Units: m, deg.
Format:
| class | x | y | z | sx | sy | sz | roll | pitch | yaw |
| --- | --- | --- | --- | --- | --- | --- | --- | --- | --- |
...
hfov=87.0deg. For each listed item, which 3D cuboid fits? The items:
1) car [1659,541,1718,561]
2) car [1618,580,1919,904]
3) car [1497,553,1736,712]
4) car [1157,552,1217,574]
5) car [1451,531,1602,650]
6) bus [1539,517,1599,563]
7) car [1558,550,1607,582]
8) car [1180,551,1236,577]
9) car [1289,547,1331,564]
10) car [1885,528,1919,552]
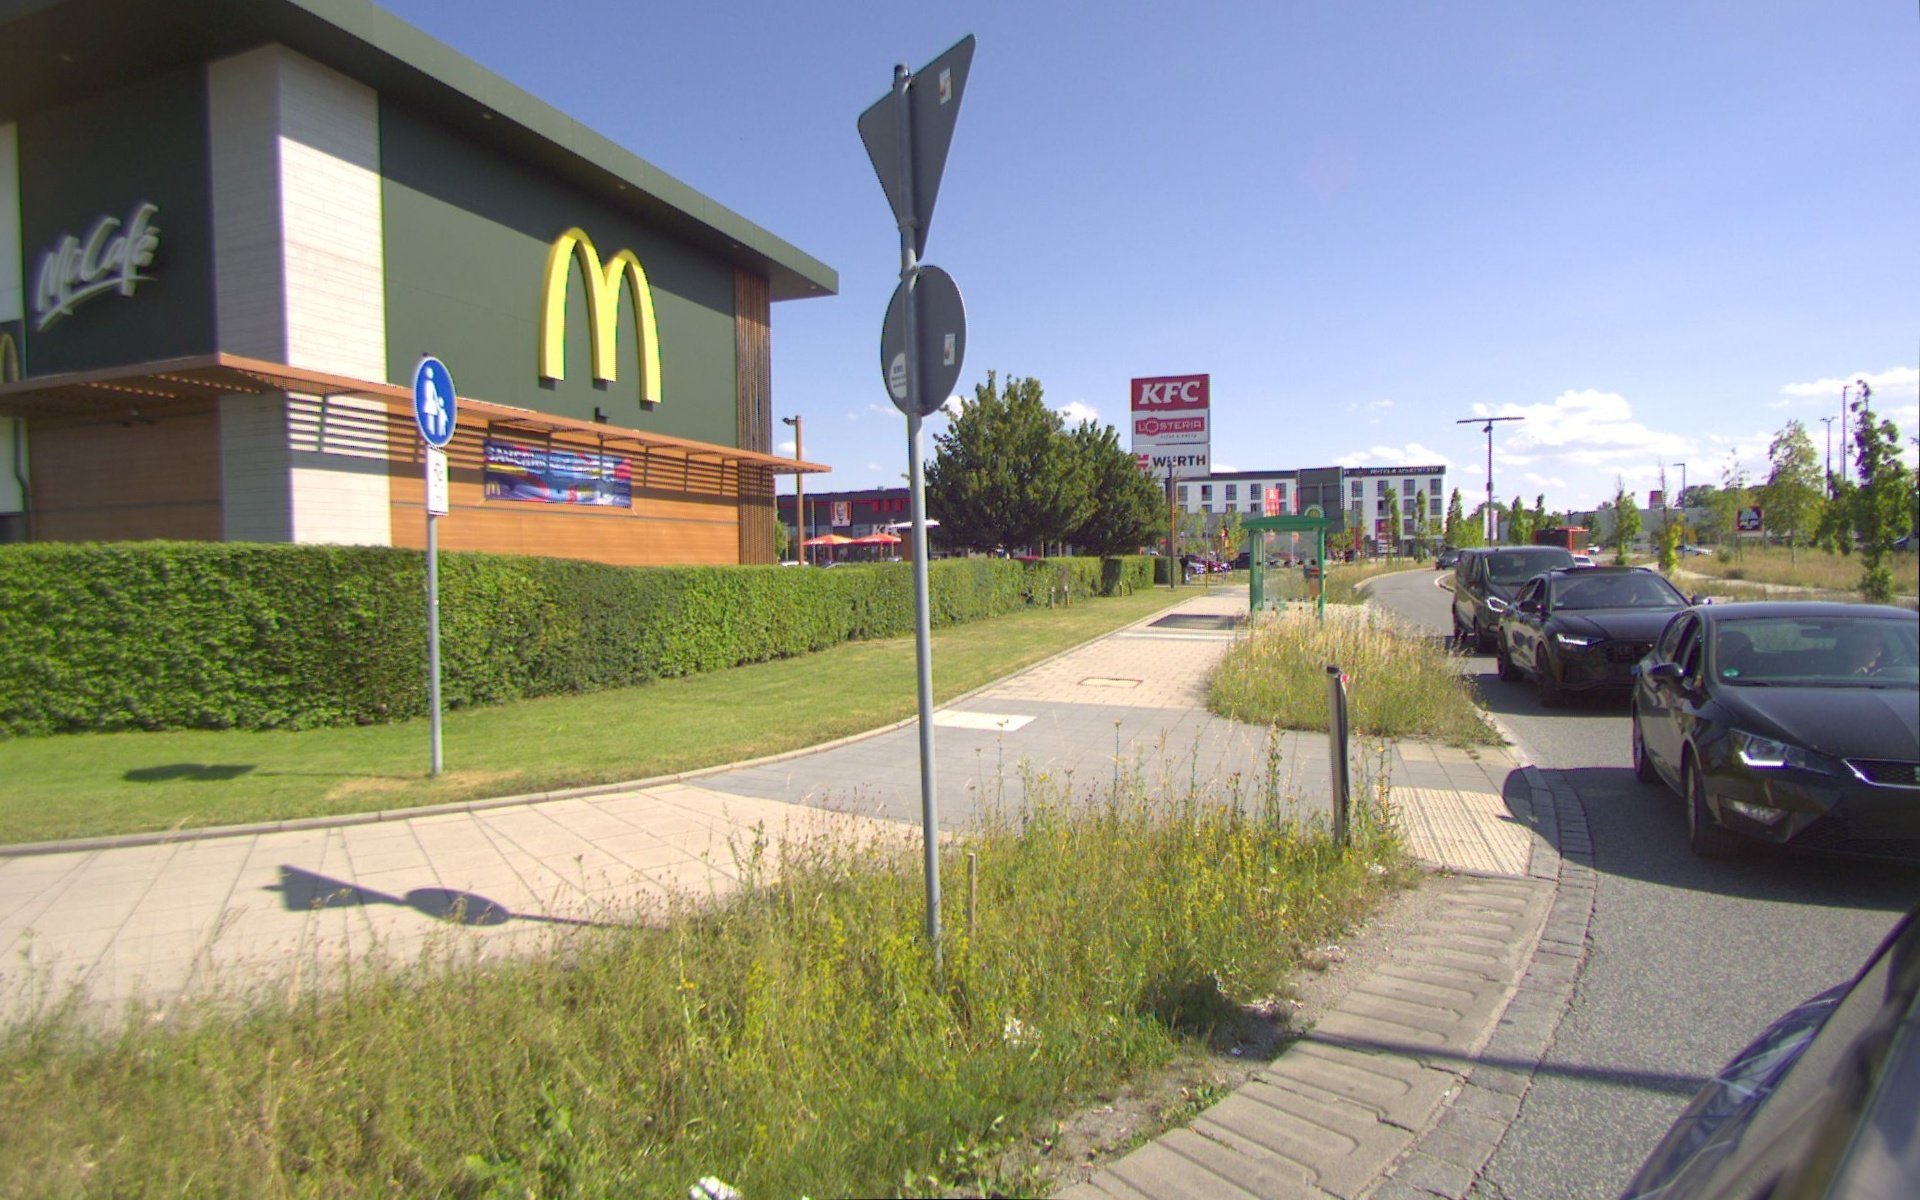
| class | x | y | z | sx | sy | sz | roll | pitch | yaw |
| --- | --- | --- | --- | --- | --- | --- | --- | --- | --- |
| car | 62.548 | -4.203 | 86.944 | 1.592 | 1.697 | 3.938 | -2 | 3 | -43 |
| car | 5.530 | 0.634 | 6.437 | 1.845 | 1.486 | 3.963 | 0 | 1 | 27 |
| car | 8.379 | 0.314 | 13.309 | 1.841 | 1.709 | 3.972 | -3 | 2 | 22 |
| car | 18.209 | -2.989 | 81.225 | 4.401 | 1.673 | 1.915 | 0 | 2 | 28 |
| car | 11.412 | -0.266 | 20.728 | 2.056 | 2.073 | 4.650 | -3 | 2 | 22 |
| bus | 47.546 | -4.601 | 78.830 | 2.604 | 3.281 | 11.720 | 0 | 2 | 38 |
| car | 28.973 | -1.592 | 47.222 | 1.782 | 1.433 | 4.337 | 0 | 2 | 30 |
| car | 20.846 | -3.010 | 85.010 | 4.161 | 2.038 | 1.909 | 0 | 2 | 36 |
| car | 35.966 | -4.541 | 104.016 | 3.799 | 1.639 | 1.736 | 0 | 2 | 35 |
| car | 73.181 | -4.602 | 76.854 | 1.593 | 1.697 | 4.270 | -2 | 2 | -45 |
